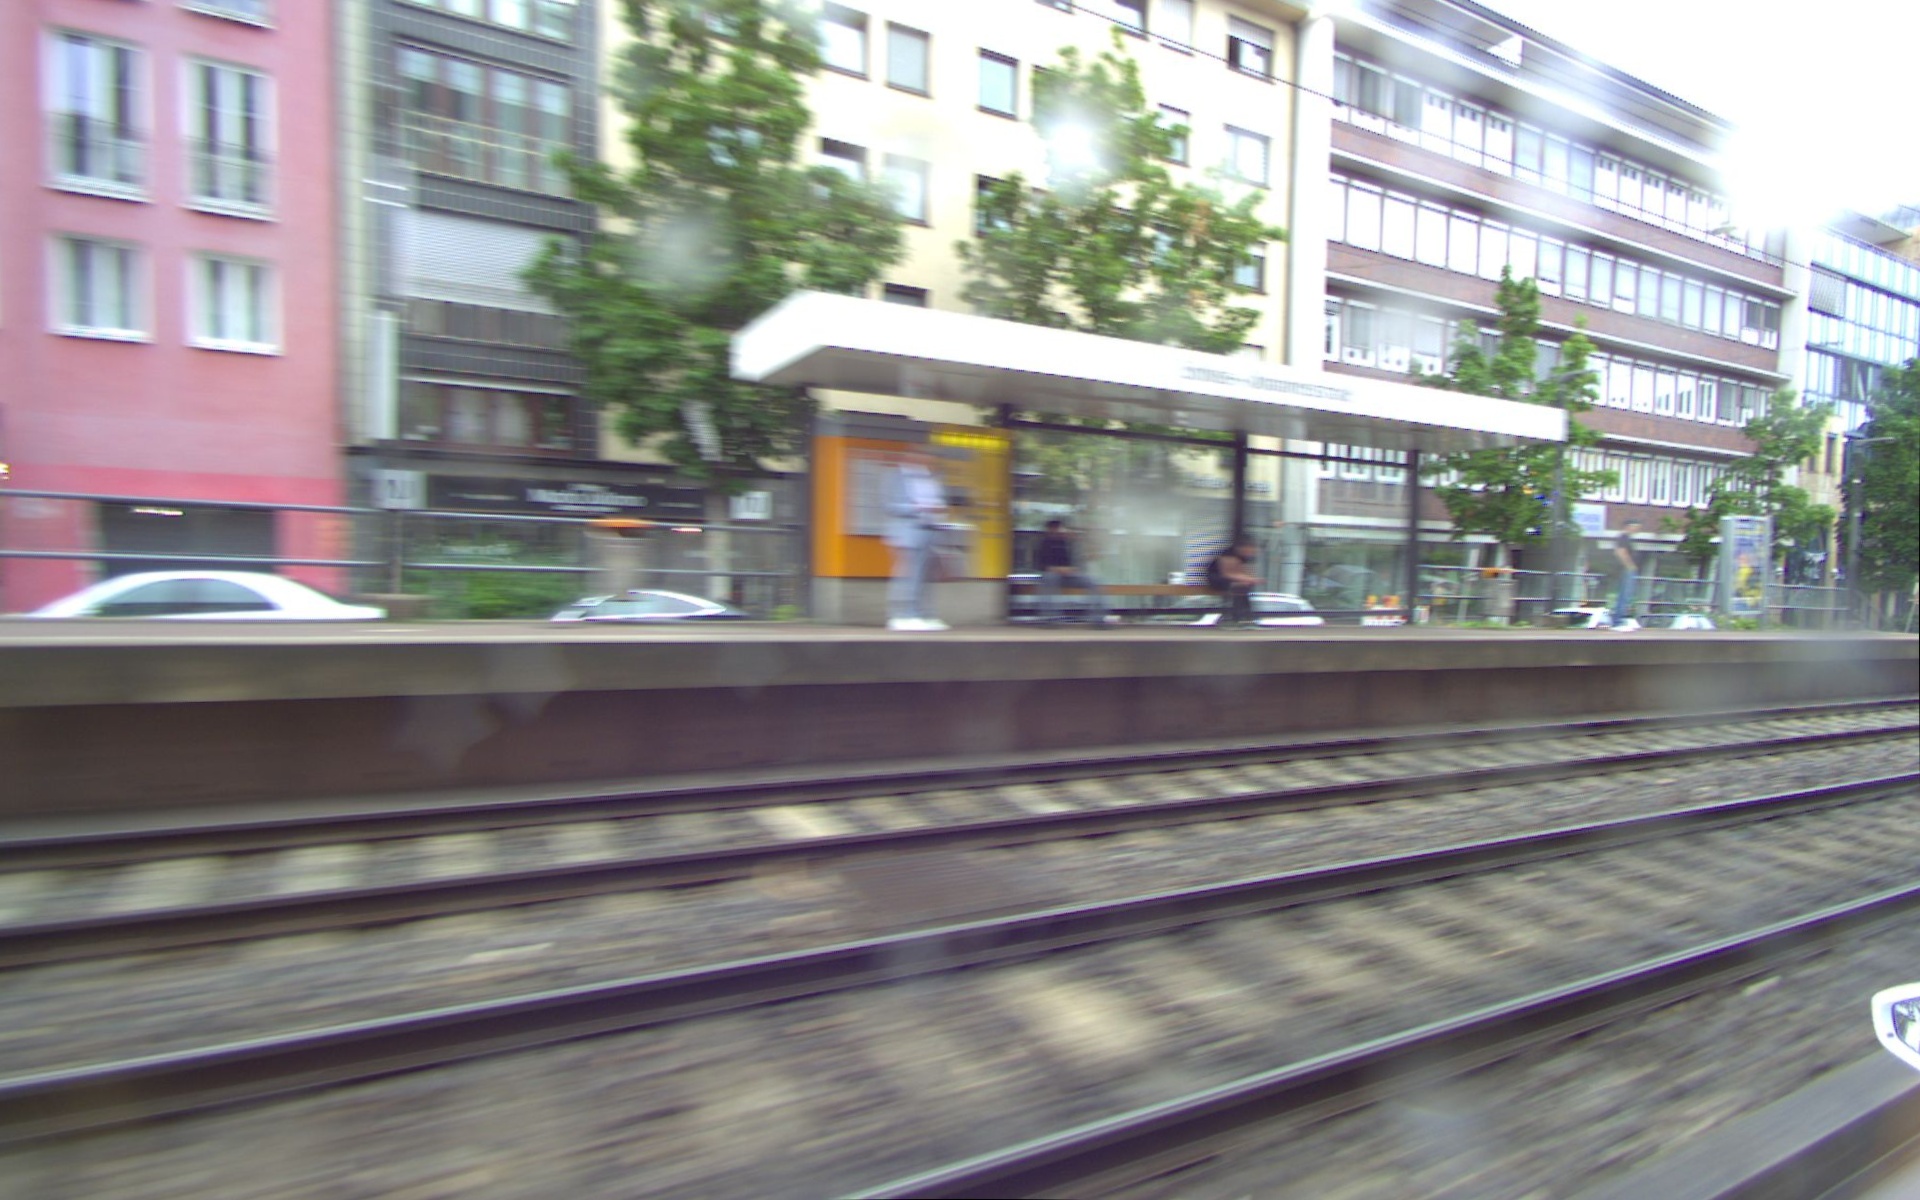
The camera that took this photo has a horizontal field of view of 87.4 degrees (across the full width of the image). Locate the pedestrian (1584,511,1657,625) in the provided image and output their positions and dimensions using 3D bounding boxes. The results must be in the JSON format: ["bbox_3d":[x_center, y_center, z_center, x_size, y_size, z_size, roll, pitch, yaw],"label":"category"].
[{"bbox_3d":[10.945,-0.517,16.657,0.840,1.826,0.652,1,1,-31],"label":"pedestrian"}]

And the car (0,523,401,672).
[{"bbox_3d":[-8.587,-0.017,11.308,3.935,1.455,1.559,1,1,-33],"label":"car"}]

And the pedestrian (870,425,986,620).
[{"bbox_3d":[-0.310,-0.694,9.483,0.840,1.734,0.652,1,1,-31],"label":"pedestrian"}]

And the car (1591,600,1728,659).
[{"bbox_3d":[19.071,0.807,27.328,4.132,1.455,1.559,1,1,-33],"label":"car"}]

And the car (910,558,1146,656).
[{"bbox_3d":[1.166,0.123,16.695,3.695,1.455,1.559,1,1,-33],"label":"car"}]

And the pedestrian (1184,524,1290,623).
[{"bbox_3d":[3.373,-0.315,12.248,0.843,1.138,0.884,1,2,-40],"label":"pedestrian"}]

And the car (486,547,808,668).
[{"bbox_3d":[-4.262,0.105,13.840,3.935,1.455,1.664,1,1,-33],"label":"car"}]

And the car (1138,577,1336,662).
[{"bbox_3d":[5.352,0.369,19.280,3.695,1.455,1.559,1,1,-33],"label":"car"}]

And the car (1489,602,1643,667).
[{"bbox_3d":[15.089,0.850,24.957,4.192,1.455,1.559,1,1,-33],"label":"car"}]

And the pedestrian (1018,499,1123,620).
[{"bbox_3d":[1.206,-0.429,11.044,0.874,1.266,0.689,1,1,-31],"label":"pedestrian"}]
